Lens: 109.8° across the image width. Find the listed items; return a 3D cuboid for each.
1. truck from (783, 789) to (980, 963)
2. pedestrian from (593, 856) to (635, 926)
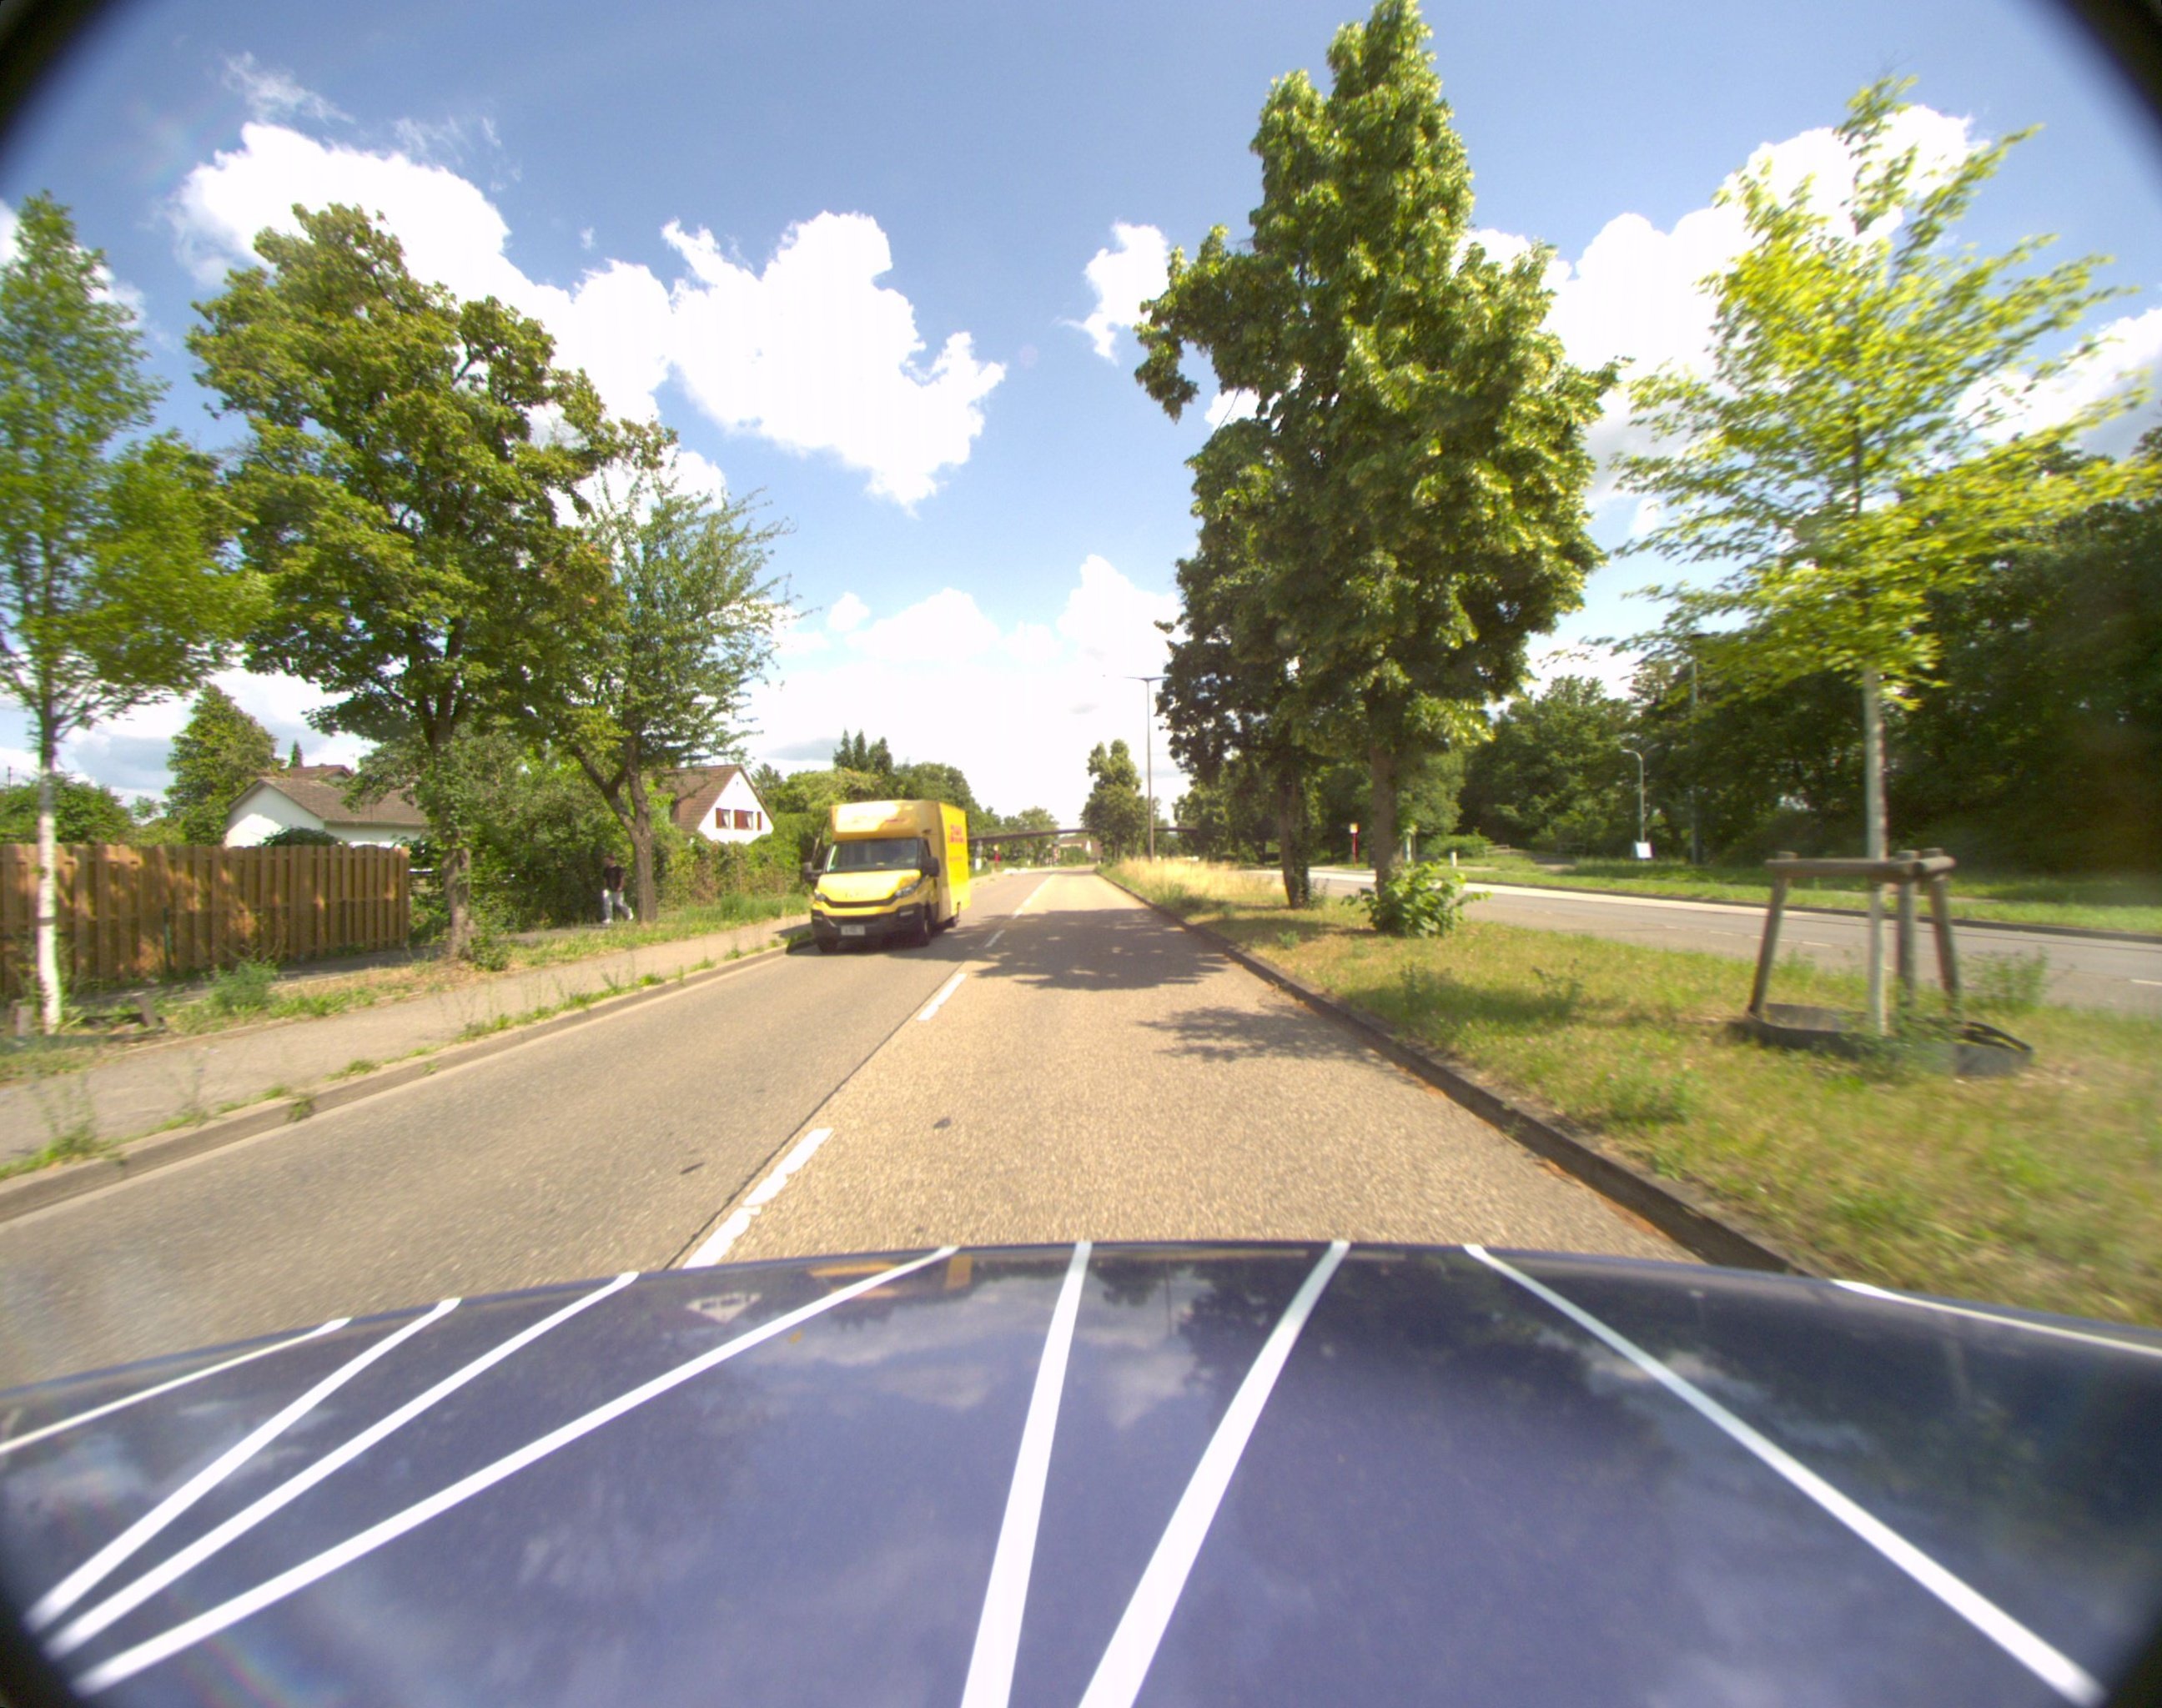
[{"bbox_3d":[-3.952,0.421,17.034,2.271,2.863,8.027,-3,-1,-1],"label":"truck"},{"bbox_3d":[-11.472,0.897,18.681,0.561,1.667,0.634,-2,1,-1],"label":"pedestrian"}]
